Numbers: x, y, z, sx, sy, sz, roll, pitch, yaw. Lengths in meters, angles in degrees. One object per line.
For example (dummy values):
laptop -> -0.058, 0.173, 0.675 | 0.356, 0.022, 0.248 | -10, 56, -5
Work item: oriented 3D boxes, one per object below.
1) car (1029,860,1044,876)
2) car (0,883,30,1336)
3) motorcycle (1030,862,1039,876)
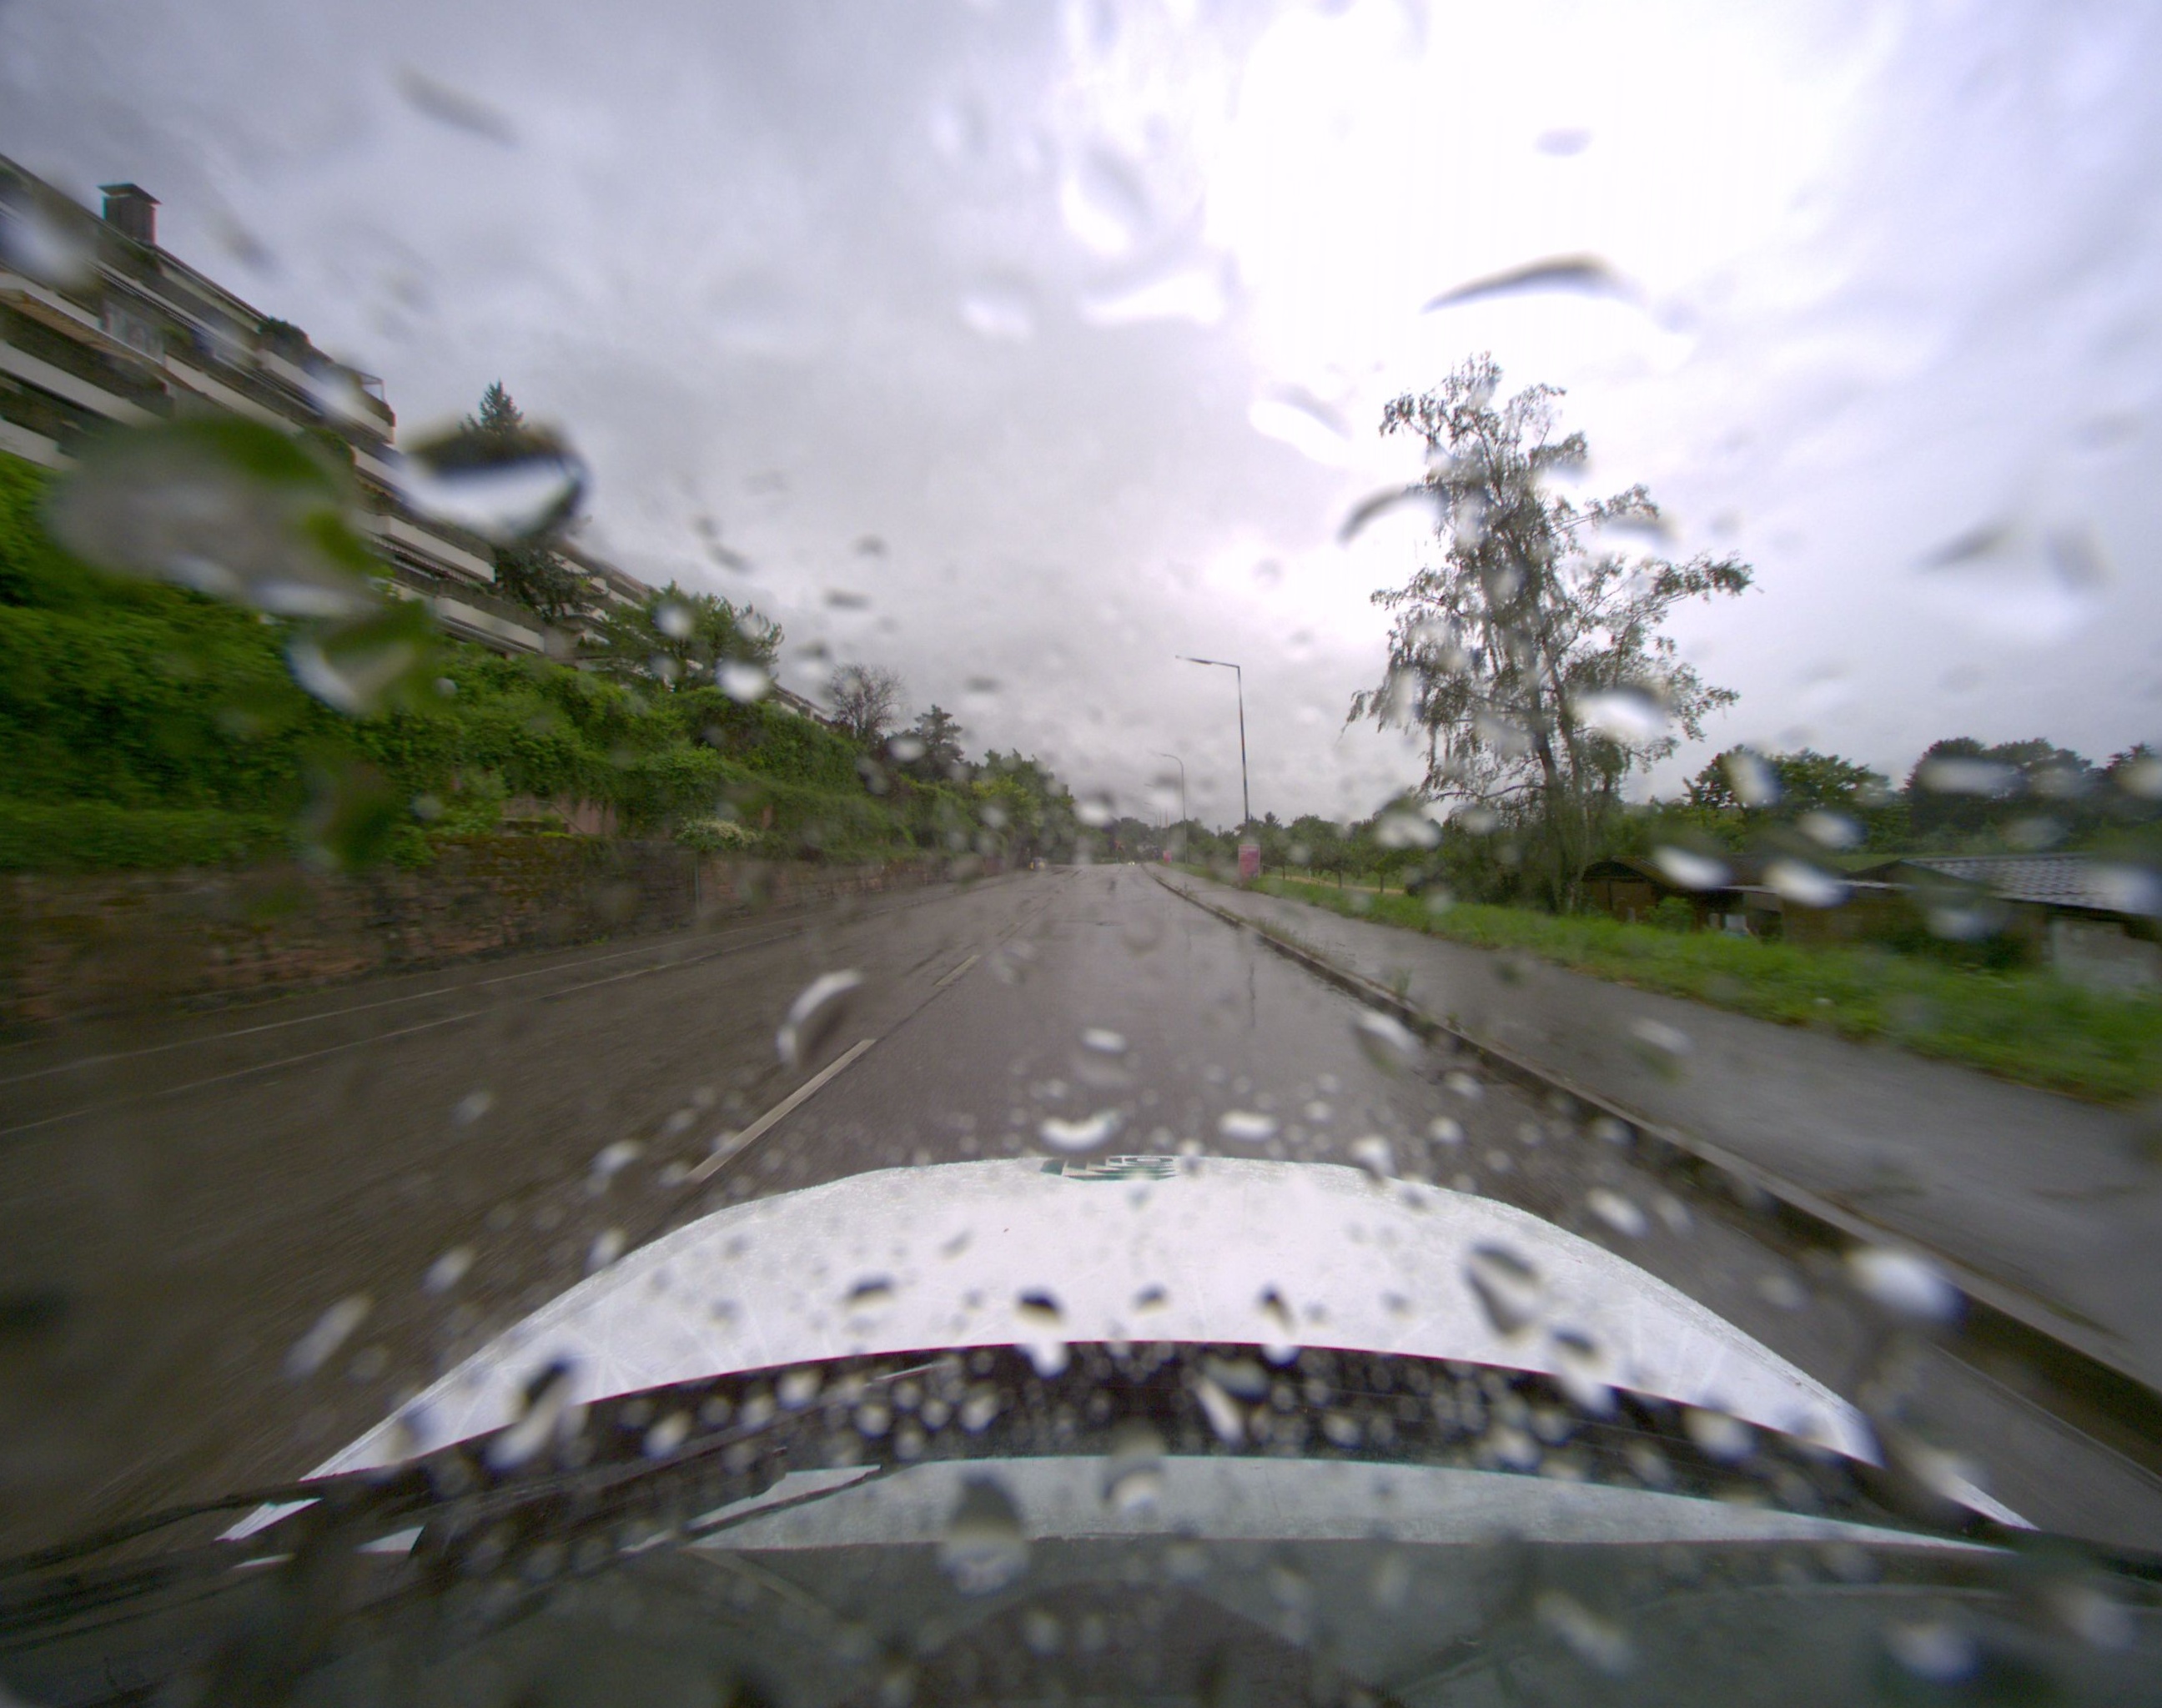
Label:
car -> -4.741, 1.470, 86.520 | 1.431, 1.537, 2.814 | -3, 0, -6
car -> -4.302, 0.861, 0.816 | 1.587, 1.442, 3.705 | -4, 0, 1
motorcycle -> -4.574, 1.485, 79.980 | 0.835, 1.341, 2.496 | -3, 0, -3
